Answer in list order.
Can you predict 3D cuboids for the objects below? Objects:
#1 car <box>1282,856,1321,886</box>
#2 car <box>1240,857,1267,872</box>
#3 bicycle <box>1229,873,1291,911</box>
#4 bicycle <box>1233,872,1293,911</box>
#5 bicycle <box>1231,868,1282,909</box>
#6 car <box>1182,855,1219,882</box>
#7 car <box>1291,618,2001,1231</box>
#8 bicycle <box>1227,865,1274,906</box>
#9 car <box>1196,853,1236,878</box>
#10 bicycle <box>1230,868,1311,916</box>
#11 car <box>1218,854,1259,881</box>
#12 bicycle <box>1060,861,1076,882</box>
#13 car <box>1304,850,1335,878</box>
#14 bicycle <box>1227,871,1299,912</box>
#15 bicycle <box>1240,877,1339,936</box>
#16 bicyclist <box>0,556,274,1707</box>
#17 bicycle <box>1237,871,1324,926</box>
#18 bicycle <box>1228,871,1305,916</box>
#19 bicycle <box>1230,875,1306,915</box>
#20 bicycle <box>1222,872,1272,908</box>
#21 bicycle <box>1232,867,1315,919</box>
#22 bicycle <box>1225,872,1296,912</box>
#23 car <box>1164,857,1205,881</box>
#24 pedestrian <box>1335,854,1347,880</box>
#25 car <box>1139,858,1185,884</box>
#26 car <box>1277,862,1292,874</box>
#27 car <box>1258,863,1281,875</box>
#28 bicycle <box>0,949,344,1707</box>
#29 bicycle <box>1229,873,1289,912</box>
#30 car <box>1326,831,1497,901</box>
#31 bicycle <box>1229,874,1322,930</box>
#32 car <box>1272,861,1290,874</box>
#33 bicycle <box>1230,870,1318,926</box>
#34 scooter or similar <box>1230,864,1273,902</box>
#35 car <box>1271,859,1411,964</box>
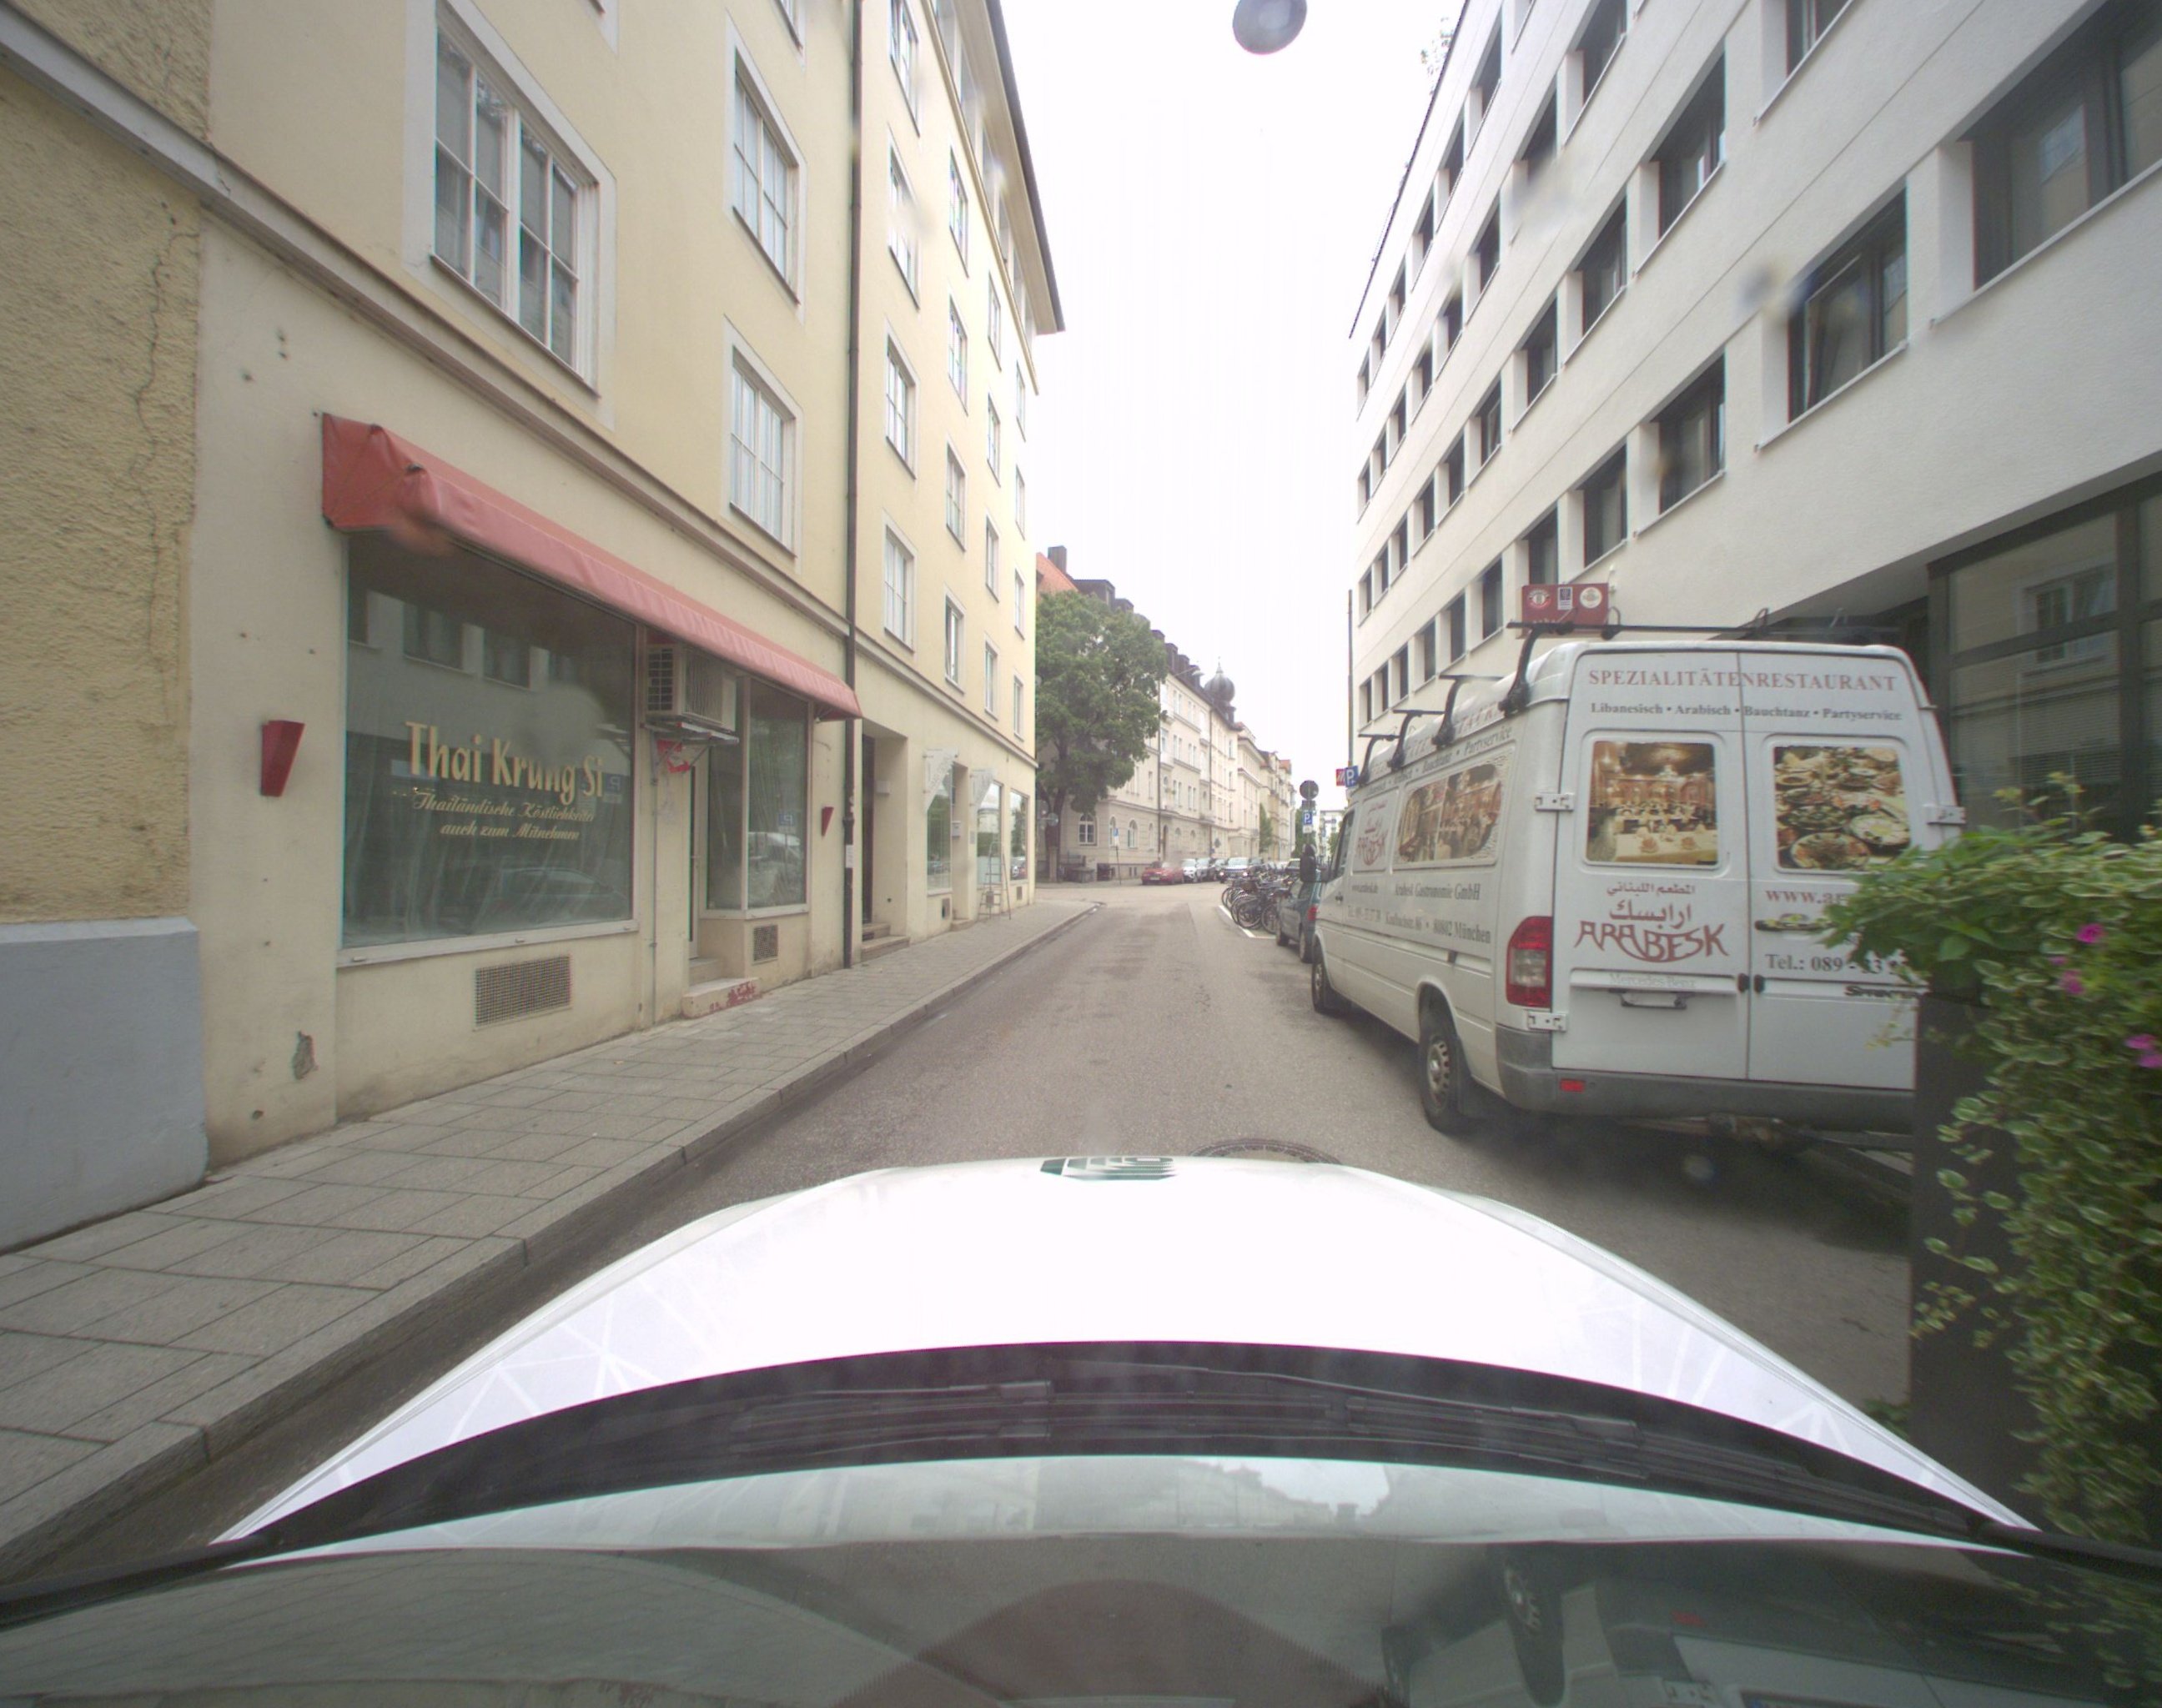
[{"bbox_3d":[13.157,0.999,48.357,1.805,1.636,4.310,2,0,20],"label":"car"},{"bbox_3d":[16.186,0.944,76.280,1.890,1.329,4.020,0,0,21],"label":"car"},{"bbox_3d":[5.206,1.107,23.768,1.733,1.080,0.452,0,1,3],"label":"bicycle"},{"bbox_3d":[5.124,1.059,22.973,1.606,1.080,0.378,0,1,3],"label":"bicycle"},{"bbox_3d":[5.286,1.034,24.550,1.447,1.207,0.395,1,-1,-1],"label":"bicycle"},{"bbox_3d":[8.175,0.966,55.388,1.928,1.702,4.017,1,0,17],"label":"car"},{"bbox_3d":[3.107,0.272,6.402,1.911,2.506,6.007,1,0,6],"label":"car"},{"bbox_3d":[5.407,0.995,26.009,1.448,1.285,0.446,1,-1,7],"label":"bicycle"},{"bbox_3d":[10.075,0.859,60.478,1.976,1.738,4.545,1,0,21],"label":"car"},{"bbox_3d":[4.668,0.934,20.178,1.885,1.170,0.566,0,0,4],"label":"bicycle"},{"bbox_3d":[9.916,0.799,51.003,1.941,1.607,4.329,0,0,19],"label":"car"},{"bbox_3d":[-0.726,0.968,45.522,0.490,1.052,1.833,0,2,12],"label":"bicycle"},{"bbox_3d":[17.092,0.721,58.253,1.805,1.871,4.310,2,0,20],"label":"car"},{"bbox_3d":[4.940,1.022,22.107,1.866,1.080,0.403,0,1,3],"label":"bicycle"},{"bbox_3d":[4.217,1.054,16.579,1.865,1.079,0.489,2,1,4],"label":"bicycle"},{"bbox_3d":[-1.719,0.524,0.703,0.922,1.721,1.101,-1,-1,5],"label":"bicyclist"},{"bbox_3d":[4.587,1.020,18.816,1.865,1.157,0.566,2,1,4],"label":"bicycle"},{"bbox_3d":[4.717,0.998,20.720,1.866,1.095,0.440,0,1,3],"label":"bicycle"},{"bbox_3d":[4.896,1.073,21.408,1.866,1.052,0.564,0,-2,3],"label":"bicycle"},{"bbox_3d":[5.103,1.102,25.024,1.447,1.069,0.463,1,-1,-1],"label":"bicycle"},{"bbox_3d":[4.606,0.925,19.553,1.865,1.204,0.580,-1,-1,4],"label":"bicycle"},{"bbox_3d":[4.955,1.035,22.548,1.866,1.080,0.409,0,1,3],"label":"bicycle"},{"bbox_3d":[6.505,0.914,50.889,1.979,1.473,4.235,0,-1,15],"label":"car"},{"bbox_3d":[18.623,0.941,58.336,0.771,1.851,1.028,0,-1,21],"label":"pedestrian"},{"bbox_3d":[4.631,0.953,46.055,1.716,1.378,4.246,0,-1,19],"label":"car"},{"bbox_3d":[25.962,1.802,103.808,1.720,1.420,4.018,0,0,17],"label":"car"},{"bbox_3d":[20.202,1.626,87.153,1.891,1.222,4.019,0,0,19],"label":"car"},{"bbox_3d":[-1.767,0.770,0.140,0.927,1.257,2.417,-1,-1,6],"label":"bicycle"},{"bbox_3d":[5.102,1.102,23.363,1.667,1.080,0.336,0,1,3],"label":"bicycle"},{"bbox_3d":[12.654,0.401,31.596,5.855,2.591,2.066,0,1,11],"label":"car"},{"bbox_3d":[4.196,1.028,17.647,1.865,1.108,0.489,2,1,4],"label":"bicycle"},{"bbox_3d":[24.123,1.634,98.110,1.806,1.574,4.018,0,-1,18],"label":"car"},{"bbox_3d":[4.285,0.977,18.162,1.865,1.204,0.489,0,1,4],"label":"bicycle"},{"bbox_3d":[5.602,0.953,26.792,1.345,1.210,0.418,0,-1,8],"label":"scooter or similar"},{"bbox_3d":[4.092,0.818,13.303,1.571,1.464,3.559,0,0,7],"label":"car"}]
